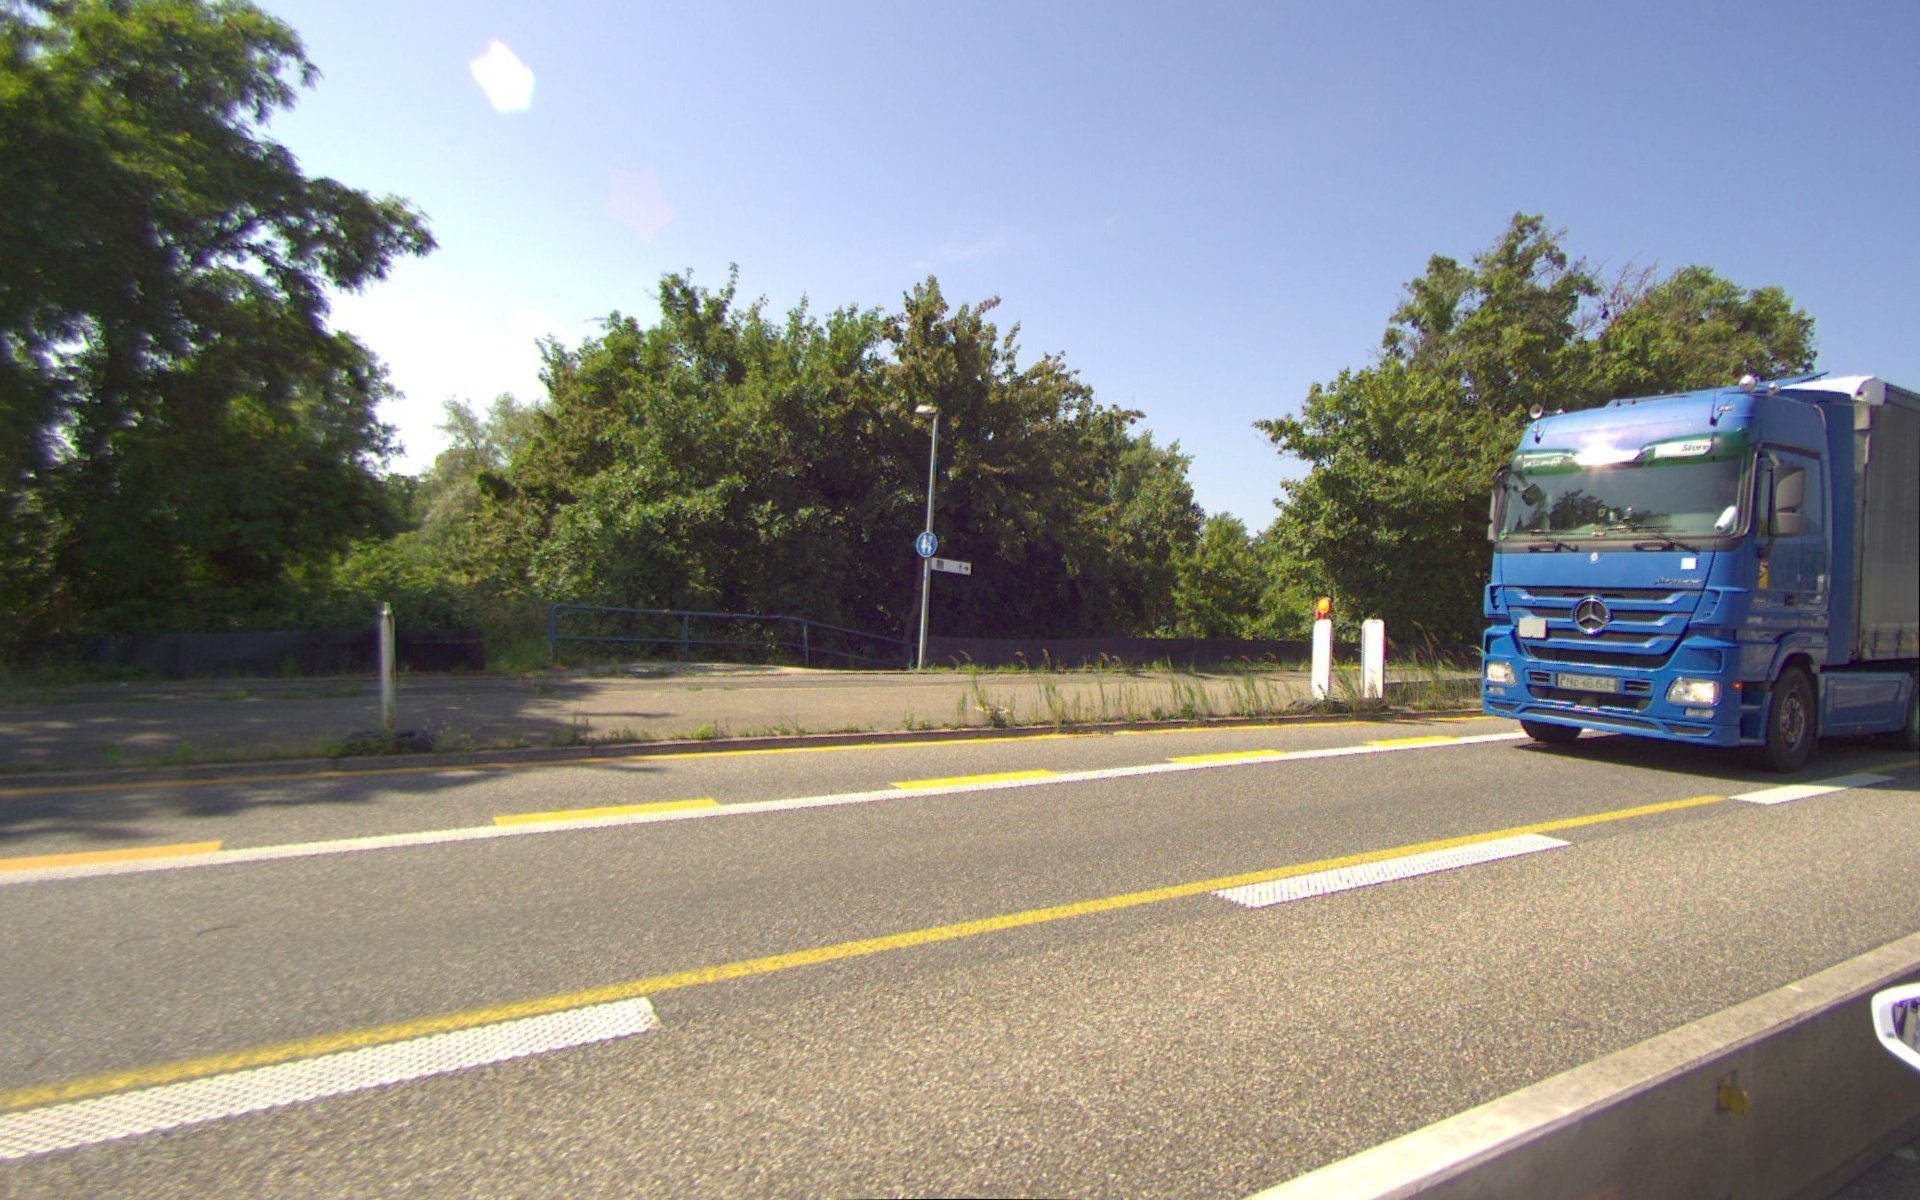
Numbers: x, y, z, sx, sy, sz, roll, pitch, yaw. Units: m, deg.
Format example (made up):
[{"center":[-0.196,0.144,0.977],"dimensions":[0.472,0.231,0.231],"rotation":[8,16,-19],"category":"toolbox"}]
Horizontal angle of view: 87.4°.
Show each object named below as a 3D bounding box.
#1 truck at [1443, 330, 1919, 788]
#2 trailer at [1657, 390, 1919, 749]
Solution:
[{"center":[8.697,-0.320,11.606],"dimensions":[5.915,4.043,2.801],"rotation":[1,0,-31],"category":"truck"},{"center":[16.010,-0.255,15.989],"dimensions":[13.311,4.097,2.789],"rotation":[1,0,-31],"category":"trailer"}]
